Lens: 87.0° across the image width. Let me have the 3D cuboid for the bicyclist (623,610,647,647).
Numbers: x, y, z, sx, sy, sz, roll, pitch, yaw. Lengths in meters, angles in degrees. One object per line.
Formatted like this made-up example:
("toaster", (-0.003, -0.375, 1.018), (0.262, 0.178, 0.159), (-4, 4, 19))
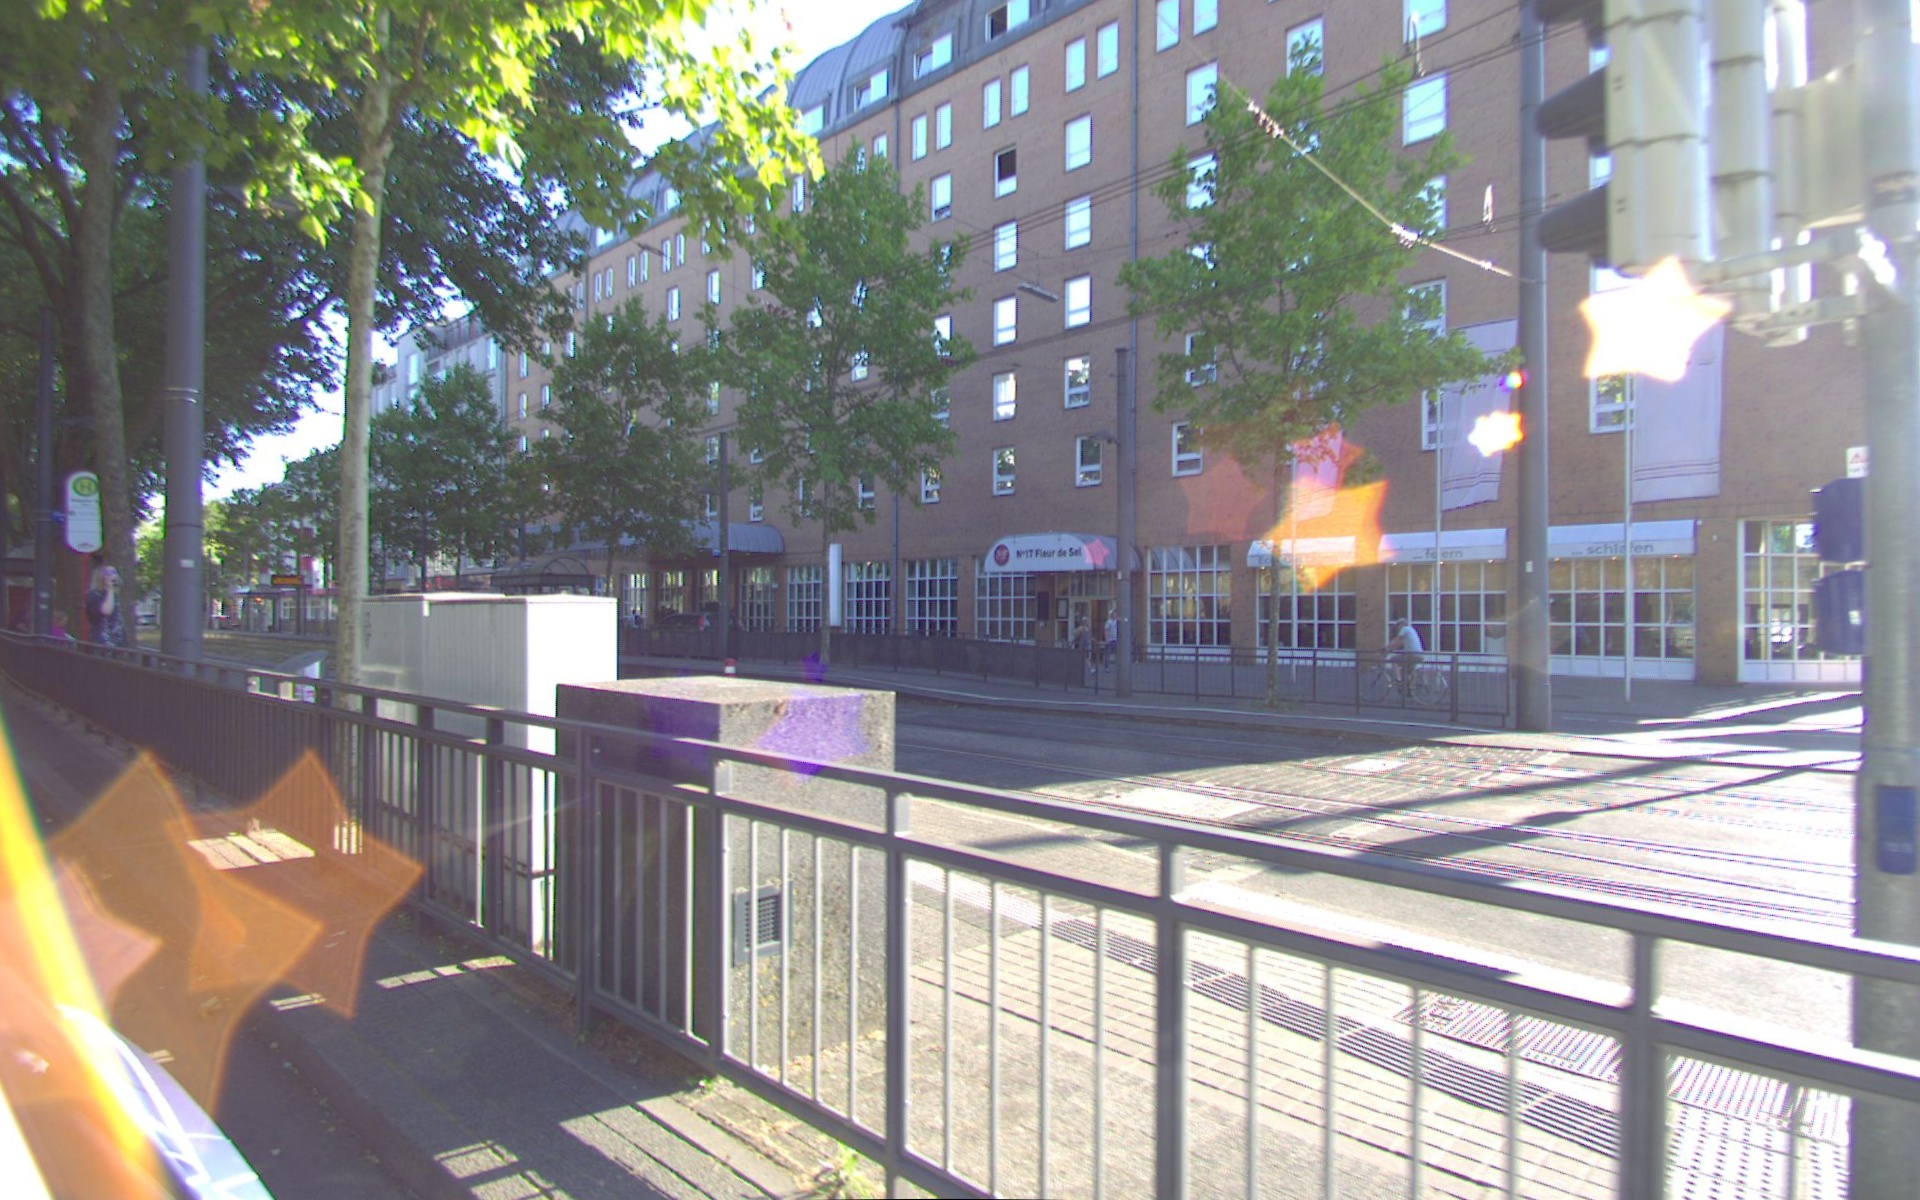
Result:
("bicyclist", (-14.050, 1.240, 43.752), (0.757, 1.586, 0.655), (-1, -2, 34))

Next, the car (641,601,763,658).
("car", (-8.586, 0.940, 33.516), (3.994, 1.776, 1.850), (-1, 0, 37))

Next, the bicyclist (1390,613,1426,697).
("bicyclist", (8.920, 1.085, 20.151), (0.514, 1.638, 0.580), (-1, -2, 41))

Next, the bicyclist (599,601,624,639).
("bicyclist", (-14.826, 0.865, 43.005), (0.757, 1.572, 0.676), (-3, -3, 34))

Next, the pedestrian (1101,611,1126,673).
("pedestrian", (4.347, 1.180, 28.660), (0.437, 1.748, 0.545), (1, -2, -41))

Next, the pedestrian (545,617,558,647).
("pedestrian", (-23.491, 1.837, 58.159), (0.574, 1.748, 0.497), (-1, -2, 43))

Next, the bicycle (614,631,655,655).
("bicycle", (-14.015, 1.837, 43.585), (1.897, 1.006, 0.647), (-1, -2, 35))

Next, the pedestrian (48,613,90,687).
("pedestrian", (-16.530, 0.914, 18.787), (0.534, 1.327, 0.525), (-1, 0, -37))

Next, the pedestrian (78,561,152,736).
("pedestrian", (-9.204, 0.506, 11.022), (0.524, 1.848, 0.536), (0, 0, 42))

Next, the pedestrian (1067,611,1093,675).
("pedestrian", (3.329, 1.185, 28.057), (0.472, 1.748, 0.545), (1, -2, -41))

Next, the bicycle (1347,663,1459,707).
("bicycle", (8.831, 1.679, 20.223), (1.967, 0.777, 0.584), (-1, -2, 41))

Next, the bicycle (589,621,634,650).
("bicycle", (-14.799, 1.520, 42.971), (2.105, 1.151, 0.679), (-3, -3, 35))
